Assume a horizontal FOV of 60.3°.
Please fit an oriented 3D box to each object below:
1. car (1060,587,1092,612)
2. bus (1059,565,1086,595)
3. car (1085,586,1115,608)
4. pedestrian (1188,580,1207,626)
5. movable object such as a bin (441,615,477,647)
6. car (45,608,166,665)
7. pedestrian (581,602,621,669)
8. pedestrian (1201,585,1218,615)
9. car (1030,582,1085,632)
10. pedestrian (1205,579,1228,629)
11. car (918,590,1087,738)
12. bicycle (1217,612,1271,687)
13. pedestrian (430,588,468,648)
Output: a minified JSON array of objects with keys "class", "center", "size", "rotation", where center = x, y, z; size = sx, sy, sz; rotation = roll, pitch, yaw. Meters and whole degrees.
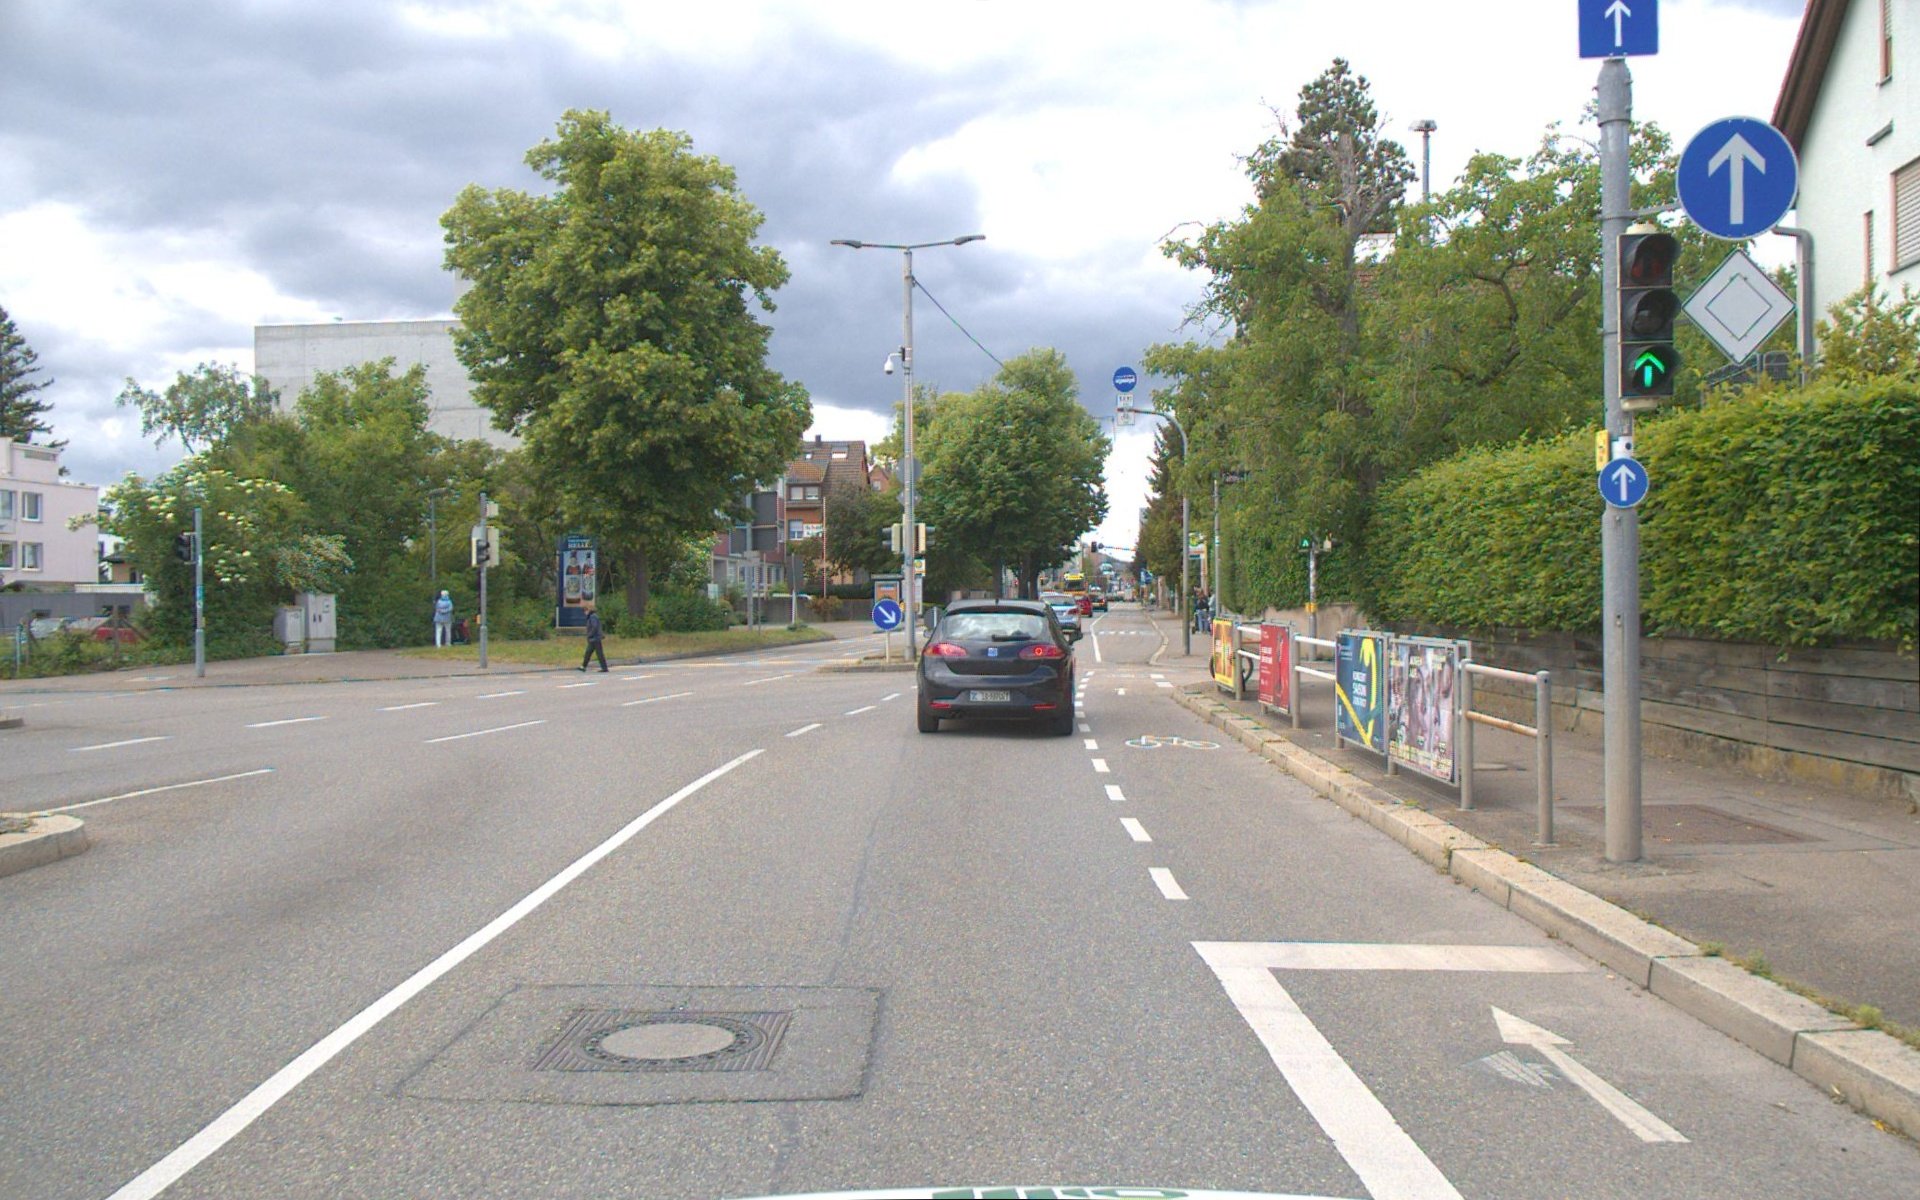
[{"class":"car","center":[7.332,-0.041,104.576],"size":[1.901,1.507,4.255],"rotation":[-2,1,3]},{"class":"bus","center":[12.538,-2.241,183.702],"size":[2.808,3.191,6.401],"rotation":[-1,1,5]},{"class":"car","center":[11.278,-0.246,133.054],"size":[1.951,1.713,4.004],"rotation":[-1,0,11]},{"class":"pedestrian","center":[8.117,0.108,56.485],"size":[0.538,1.543,0.362],"rotation":[-3,1,14]},{"class":"movable object such as a bin","center":[-13.353,0.816,44.082],"size":[0.642,0.812,0.897],"rotation":[-1,0,3]},{"class":"car","center":[-32.772,1.353,63.548],"size":[1.951,2.049,4.003],"rotation":[2,0,14]},{"class":"pedestrian","center":[-7.846,0.775,36.178],"size":[0.759,1.432,0.599],"rotation":[-2,0,-8]},{"class":"pedestrian","center":[8.554,-0.005,56.661],"size":[0.445,0.981,0.383],"rotation":[-4,1,-1]},{"class":"car","center":[3.682,0.223,61.732],"size":[1.780,1.729,4.256],"rotation":[-2,1,7]},{"class":"pedestrian","center":[8.301,0.134,53.443],"size":[0.533,1.582,0.471],"rotation":[-5,0,-3]},{"class":"car","center":[0.511,0.654,19.023],"size":[1.723,1.474,3.715],"rotation":[1,1,2]},{"class":"bicycle","center":[4.177,0.716,24.392],"size":[0.615,1.046,1.505],"rotation":[-1,0,3]},{"class":"pedestrian","center":[-13.393,0.456,43.388],"size":[0.642,1.549,0.924],"rotation":[-1,0,3]}]
